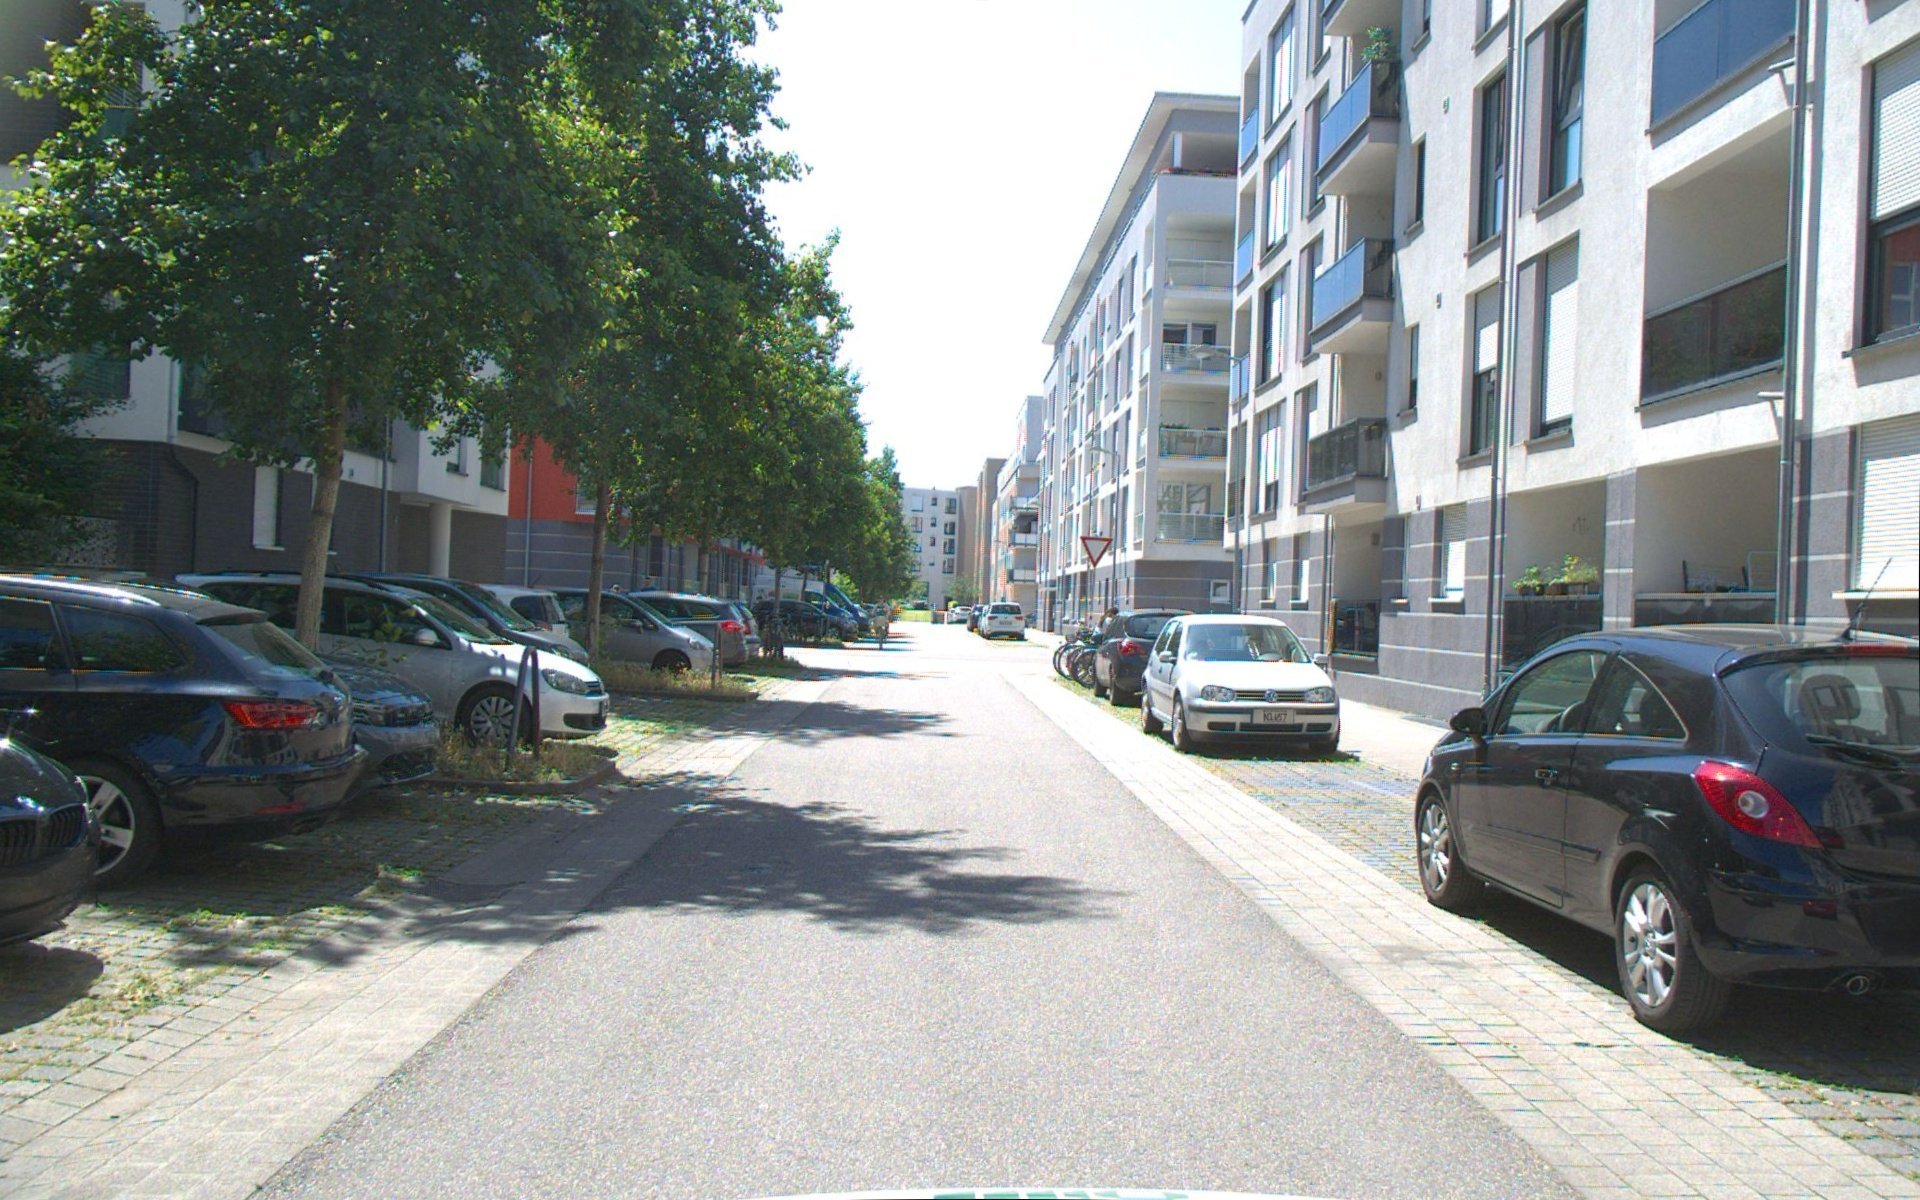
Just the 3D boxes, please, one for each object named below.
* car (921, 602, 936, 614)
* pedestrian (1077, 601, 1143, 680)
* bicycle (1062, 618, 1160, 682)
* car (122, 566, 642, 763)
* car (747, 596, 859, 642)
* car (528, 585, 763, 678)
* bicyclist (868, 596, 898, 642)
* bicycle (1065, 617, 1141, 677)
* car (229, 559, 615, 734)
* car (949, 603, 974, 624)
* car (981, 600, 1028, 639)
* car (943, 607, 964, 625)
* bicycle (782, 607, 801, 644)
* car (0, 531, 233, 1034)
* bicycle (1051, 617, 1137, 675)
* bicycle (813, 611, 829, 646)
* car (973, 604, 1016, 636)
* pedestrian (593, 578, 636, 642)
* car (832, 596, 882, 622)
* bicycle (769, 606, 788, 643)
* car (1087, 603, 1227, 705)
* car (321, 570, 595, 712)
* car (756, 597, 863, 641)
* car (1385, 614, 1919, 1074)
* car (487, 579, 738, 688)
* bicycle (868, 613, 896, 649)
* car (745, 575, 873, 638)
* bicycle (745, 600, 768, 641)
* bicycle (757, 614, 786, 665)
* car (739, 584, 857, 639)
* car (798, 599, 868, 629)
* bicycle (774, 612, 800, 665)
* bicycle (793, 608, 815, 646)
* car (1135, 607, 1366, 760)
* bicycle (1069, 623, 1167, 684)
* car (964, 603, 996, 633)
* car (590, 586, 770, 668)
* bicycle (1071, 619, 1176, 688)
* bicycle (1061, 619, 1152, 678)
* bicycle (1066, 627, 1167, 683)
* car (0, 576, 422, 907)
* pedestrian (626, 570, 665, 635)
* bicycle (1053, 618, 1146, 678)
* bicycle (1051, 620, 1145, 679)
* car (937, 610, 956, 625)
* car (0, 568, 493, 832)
[{"bbox_3d":[-4.293,1.148,226.594,1.954,1.545,3.998,2,0,-2],"label":"car"},{"bbox_3d":[3.006,0.806,33.129,1.157,1.541,0.686,1,0,-11],"label":"pedestrian"},{"bbox_3d":[3.004,1.001,33.000,1.888,1.239,0.459,1,-1,-11],"label":"bicycle"},{"bbox_3d":[-5.326,0.574,15.760,4.274,1.740,1.998,0,0,-4],"label":"car"},{"bbox_3d":[-6.333,0.764,67.256,4.295,1.541,2.074,4,0,-2],"label":"car"},{"bbox_3d":[-5.849,0.604,31.224,4.099,1.512,1.957,3,-2,-5],"label":"car"},{"bbox_3d":[-2.542,0.627,54.379,0.934,1.485,0.799,2,0,-2],"label":"bicyclist"},{"bbox_3d":[3.035,0.991,35.238,1.520,1.239,0.707,1,-1,-3],"label":"bicycle"},{"bbox_3d":[-5.773,0.497,18.164,3.637,1.613,1.818,4,-1,-7],"label":"car"},{"bbox_3d":[0.136,1.180,143.291,1.954,1.704,3.998,2,0,-3],"label":"car"},{"bbox_3d":[1.972,0.874,74.672,1.957,1.686,4.114,1,0,-1],"label":"car"},{"bbox_3d":[-0.647,1.679,170.496,1.954,1.747,3.998,2,0,-2],"label":"car"},{"bbox_3d":[-5.824,0.867,57.153,0.425,1.225,1.699,3,1,-1],"label":"bicycle"},{"bbox_3d":[-5.111,0.503,6.105,3.906,1.679,1.918,3,0,0],"label":"car"},{"bbox_3d":[2.911,1.001,35.945,1.821,1.214,0.687,1,-1,1],"label":"bicycle"},{"bbox_3d":[-4.827,0.986,57.391,0.456,1.161,1.925,2,0,-3],"label":"bicycle"},{"bbox_3d":[1.764,1.026,85.197,1.953,1.551,3.998,1,0,-2],"label":"car"},{"bbox_3d":[-9.448,0.266,45.250,0.980,1.720,0.832,2,0,-1],"label":"pedestrian"},{"bbox_3d":[-8.608,0.727,138.659,3.903,2.049,2.001,2,0,5],"label":"car"},{"bbox_3d":[-6.284,0.842,57.393,0.508,1.225,1.751,3,1,-3],"label":"bicycle"},{"bbox_3d":[3.155,0.825,27.257,1.703,1.511,4.228,1,0,-1],"label":"car"},{"bbox_3d":[-6.335,0.502,21.152,2.874,1.526,1.847,4,0,-3],"label":"car"},{"bbox_3d":[-6.322,0.803,69.807,4.295,1.569,1.878,4,0,-2],"label":"car"},{"bbox_3d":[3.328,0.823,7.552,1.609,1.488,4.116,0,0,-2],"label":"car"},{"bbox_3d":[-5.875,0.561,28.327,3.859,1.580,1.871,3,0,-2],"label":"car"},{"bbox_3d":[-2.556,1.005,54.300,0.880,1.149,2.039,2,0,-2],"label":"bicycle"},{"bbox_3d":[-7.233,0.323,79.853,5.902,2.865,2.604,1,0,-2],"label":"car"},{"bbox_3d":[-7.027,0.708,57.166,0.581,1.354,1.812,1,1,-1],"label":"bicycle"},{"bbox_3d":[-4.415,0.903,38.670,0.426,1.147,1.972,1,0,-13],"label":"bicycle"},{"bbox_3d":[-7.240,0.511,74.420,5.041,2.156,2.311,3,0,-2],"label":"car"},{"bbox_3d":[-7.418,0.812,97.049,3.905,1.646,2.000,2,0,1],"label":"car"},{"bbox_3d":[-4.062,0.884,38.708,0.364,1.201,1.815,1,0,-13],"label":"bicycle"},{"bbox_3d":[-5.400,0.912,57.157,0.559,1.194,1.765,5,1,-8],"label":"bicycle"},{"bbox_3d":[3.172,0.859,18.937,1.797,1.531,4.349,0,0,-1],"label":"car"},{"bbox_3d":[3.019,1.026,31.644,1.751,1.123,0.746,1,-1,-5],"label":"bicycle"},{"bbox_3d":[1.161,1.033,94.761,1.721,1.579,4.001,2,0,2],"label":"car"},{"bbox_3d":[-6.059,0.578,36.137,3.557,1.547,1.831,3,0,-2],"label":"car"},{"bbox_3d":[3.047,0.990,30.899,1.833,1.239,0.715,1,-1,-5],"label":"bicycle"},{"bbox_3d":[2.979,0.986,33.583,1.807,1.168,0.458,1,-1,-21],"label":"bicycle"},{"bbox_3d":[3.051,1.076,32.339,1.886,1.053,0.559,1,-1,-5],"label":"bicycle"},{"bbox_3d":[-5.056,0.618,8.621,3.897,1.470,1.773,3,-1,-5],"label":"car"},{"bbox_3d":[-10.238,0.079,53.924,0.988,2.049,1.129,1,0,1],"label":"pedestrian"},{"bbox_3d":[2.922,1.000,34.553,1.882,1.200,0.639,1,-1,8],"label":"bicycle"},{"bbox_3d":[2.839,1.011,33.945,1.882,1.153,0.609,1,-1,8],"label":"bicycle"},{"bbox_3d":[-1.562,1.968,184.535,1.954,1.545,3.998,2,0,-2],"label":"car"},{"bbox_3d":[-5.435,0.594,11.218,3.906,1.447,1.897,4,0,-1],"label":"car"}]
